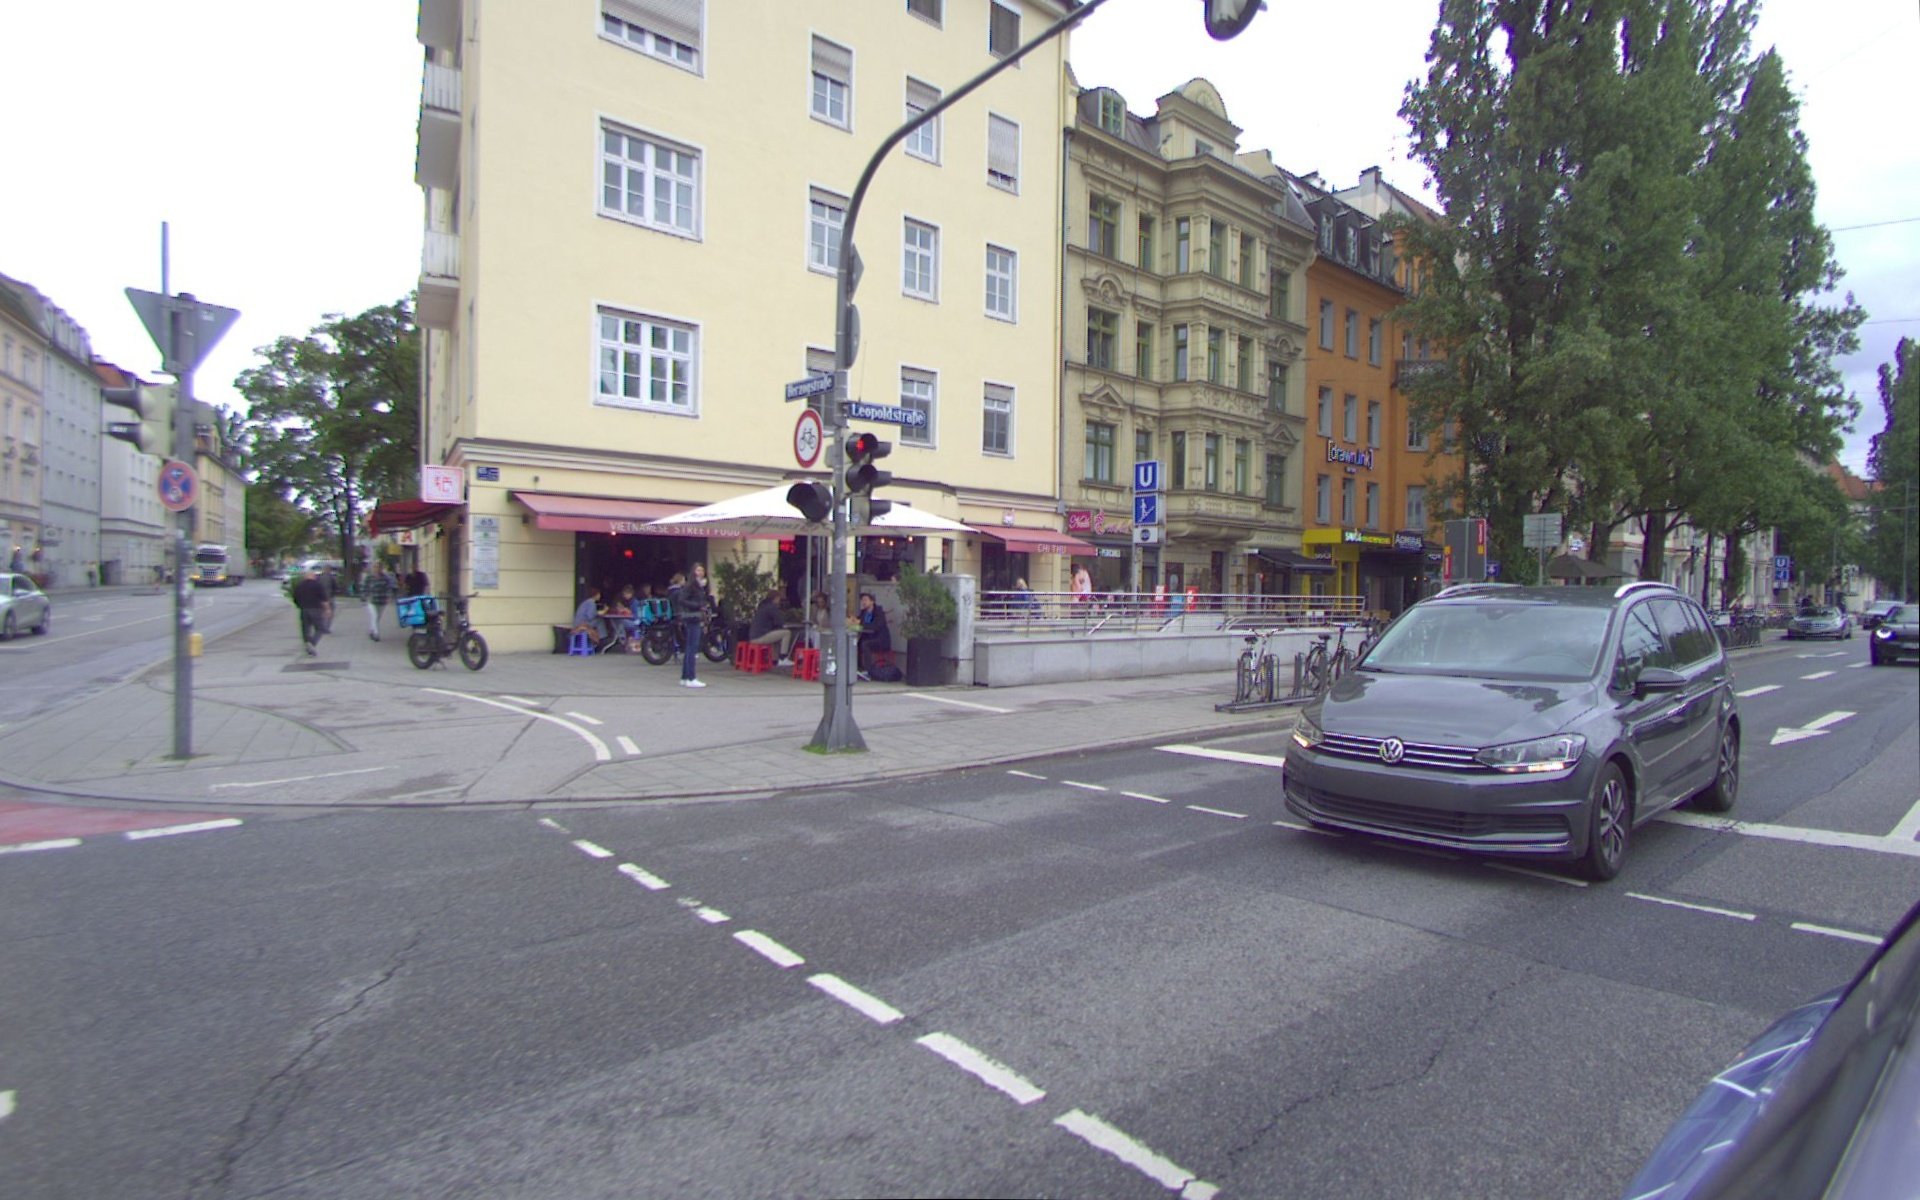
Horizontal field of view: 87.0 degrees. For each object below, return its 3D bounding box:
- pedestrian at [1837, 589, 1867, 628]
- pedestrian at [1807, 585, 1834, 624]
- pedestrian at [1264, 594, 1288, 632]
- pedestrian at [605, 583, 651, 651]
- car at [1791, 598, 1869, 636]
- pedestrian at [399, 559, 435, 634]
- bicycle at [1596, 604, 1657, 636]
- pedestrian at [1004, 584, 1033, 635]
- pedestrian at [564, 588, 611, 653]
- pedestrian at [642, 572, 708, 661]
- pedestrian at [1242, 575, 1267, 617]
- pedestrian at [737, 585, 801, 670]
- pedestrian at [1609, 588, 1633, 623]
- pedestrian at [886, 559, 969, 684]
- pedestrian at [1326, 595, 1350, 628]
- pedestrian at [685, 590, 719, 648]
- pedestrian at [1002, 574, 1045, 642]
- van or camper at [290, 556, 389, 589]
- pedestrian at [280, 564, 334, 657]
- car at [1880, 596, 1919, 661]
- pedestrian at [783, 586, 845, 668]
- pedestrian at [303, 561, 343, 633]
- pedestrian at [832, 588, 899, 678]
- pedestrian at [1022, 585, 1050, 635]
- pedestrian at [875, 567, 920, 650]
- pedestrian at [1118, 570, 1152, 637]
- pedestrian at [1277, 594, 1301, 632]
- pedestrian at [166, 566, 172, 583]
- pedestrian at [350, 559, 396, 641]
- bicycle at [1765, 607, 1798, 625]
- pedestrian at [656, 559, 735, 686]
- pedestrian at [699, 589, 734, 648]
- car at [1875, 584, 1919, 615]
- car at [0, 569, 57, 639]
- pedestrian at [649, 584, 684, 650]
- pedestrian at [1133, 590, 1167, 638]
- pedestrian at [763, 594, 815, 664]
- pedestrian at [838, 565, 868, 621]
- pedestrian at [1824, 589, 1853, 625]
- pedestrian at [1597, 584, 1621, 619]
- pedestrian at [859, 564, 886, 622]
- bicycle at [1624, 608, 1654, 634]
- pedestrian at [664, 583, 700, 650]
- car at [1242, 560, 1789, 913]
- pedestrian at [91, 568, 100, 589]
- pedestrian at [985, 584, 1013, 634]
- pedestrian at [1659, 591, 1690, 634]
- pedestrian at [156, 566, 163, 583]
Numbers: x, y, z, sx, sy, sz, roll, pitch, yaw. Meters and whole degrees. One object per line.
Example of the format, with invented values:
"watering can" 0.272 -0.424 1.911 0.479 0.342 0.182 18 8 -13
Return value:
"pedestrian" 42.281 0.389 47.965 0.741 1.824 0.883 1 -1 -30
"pedestrian" 40.455 0.230 47.596 0.638 1.803 0.702 1 -1 -7
"pedestrian" 11.034 0.455 35.333 0.573 1.296 0.584 0 1 -41
"pedestrian" -6.530 0.325 19.913 0.691 1.308 0.515 0 0 -42
"car" 36.276 0.651 42.168 4.453 1.458 1.996 0 1 -43
"pedestrian" -12.558 -0.085 23.392 0.690 1.704 0.854 1 1 -30
"bicycle" 25.977 0.774 39.462 0.571 1.188 1.892 0 1 -38
"pedestrian" 1.535 0.247 26.449 0.542 1.305 0.496 0 1 -41
"pedestrian" -7.087 0.375 19.272 0.691 1.197 0.515 0 0 -42
"pedestrian" -5.171 0.280 18.396 0.727 1.560 0.880 1 1 35
"pedestrian" 10.706 -0.157 36.781 0.572 1.493 0.627 1 1 -38
"pedestrian" -3.104 0.426 16.410 0.782 1.328 0.679 0 1 -40
"pedestrian" 32.692 0.270 50.052 0.999 1.706 0.747 0 1 -41
"pedestrian" -0.468 0.297 14.885 0.878 1.765 0.848 1 1 33
"pedestrian" 14.379 0.419 38.511 0.573 1.233 0.623 0 1 -41
"pedestrian" -5.389 0.387 21.124 0.518 1.180 0.479 1 0 -42
"pedestrian" 1.564 0.194 25.022 0.772 1.653 0.711 0 1 -41
"van or camper" -46.423 -2.017 75.855 1.985 2.306 6.065 1 1 32
"pedestrian" -11.574 0.176 17.935 0.753 1.605 0.760 1 1 -36
"car" 24.434 0.676 25.230 3.901 1.523 1.778 0 0 -41
"pedestrian" -2.442 0.427 16.980 0.782 1.328 0.679 0 1 -40
"pedestrian" -15.212 -0.078 24.192 0.752 1.663 0.761 1 1 -30
"pedestrian" -1.457 0.489 15.585 0.782 1.327 0.679 0 1 -40
"pedestrian" 2.077 0.260 27.568 0.542 1.349 0.496 0 1 -41
"pedestrian" -1.272 0.164 20.716 0.666 1.653 0.616 0 1 -41
"pedestrian" 4.704 0.083 27.241 0.654 1.761 0.601 0 0 -41
"pedestrian" 11.665 0.456 35.863 0.573 1.296 0.584 0 1 -41
"pedestrian" -71.243 -2.270 91.150 0.402 1.529 0.450 1 0 -33
"pedestrian" -12.618 -0.016 21.775 0.822 1.704 1.040 1 1 -30
"bicycle" 46.531 0.899 57.319 1.801 1.036 0.447 0 0 -14
"pedestrian" -3.703 0.299 14.189 0.752 1.716 0.762 1 1 24
"pedestrian" -4.996 0.380 20.764 0.518 1.180 0.479 1 0 -42
"car" 52.815 -0.046 56.757 4.425 1.681 1.735 0 1 -42
"car" -21.483 0.046 21.992 1.856 1.440 4.006 1 1 -28
"pedestrian" -5.993 0.338 20.680 0.518 1.315 0.479 1 0 -42
"pedestrian" 5.032 0.361 26.824 0.654 1.237 0.601 0 1 -41
"pedestrian" -3.052 0.501 18.106 0.688 1.218 0.627 0 1 -40
"pedestrian" -2.749 -0.178 25.881 0.542 1.414 0.542 0 1 -41
"pedestrian" 41.286 0.321 47.573 0.743 1.659 0.700 1 -1 6
"pedestrian" 33.121 0.072 51.637 0.999 1.735 0.747 0 1 -41
"pedestrian" -2.186 -0.176 25.276 0.479 1.414 0.511 0 0 -35
"bicycle" 24.463 0.757 36.449 1.861 0.903 0.457 0 1 -42
"pedestrian" -5.562 0.326 20.260 0.518 1.315 0.479 1 0 -42
"car" 4.038 0.632 6.958 4.625 1.667 1.775 0 1 -40
"pedestrian" -56.259 -1.387 65.863 0.402 1.375 0.450 1 1 -33
"pedestrian" 1.042 0.229 27.147 0.542 1.305 0.496 0 1 -41
"pedestrian" 26.893 0.453 38.089 0.749 1.582 0.761 1 0 -39
"pedestrian" -71.736 -2.271 90.712 0.402 1.529 0.450 1 0 -33
